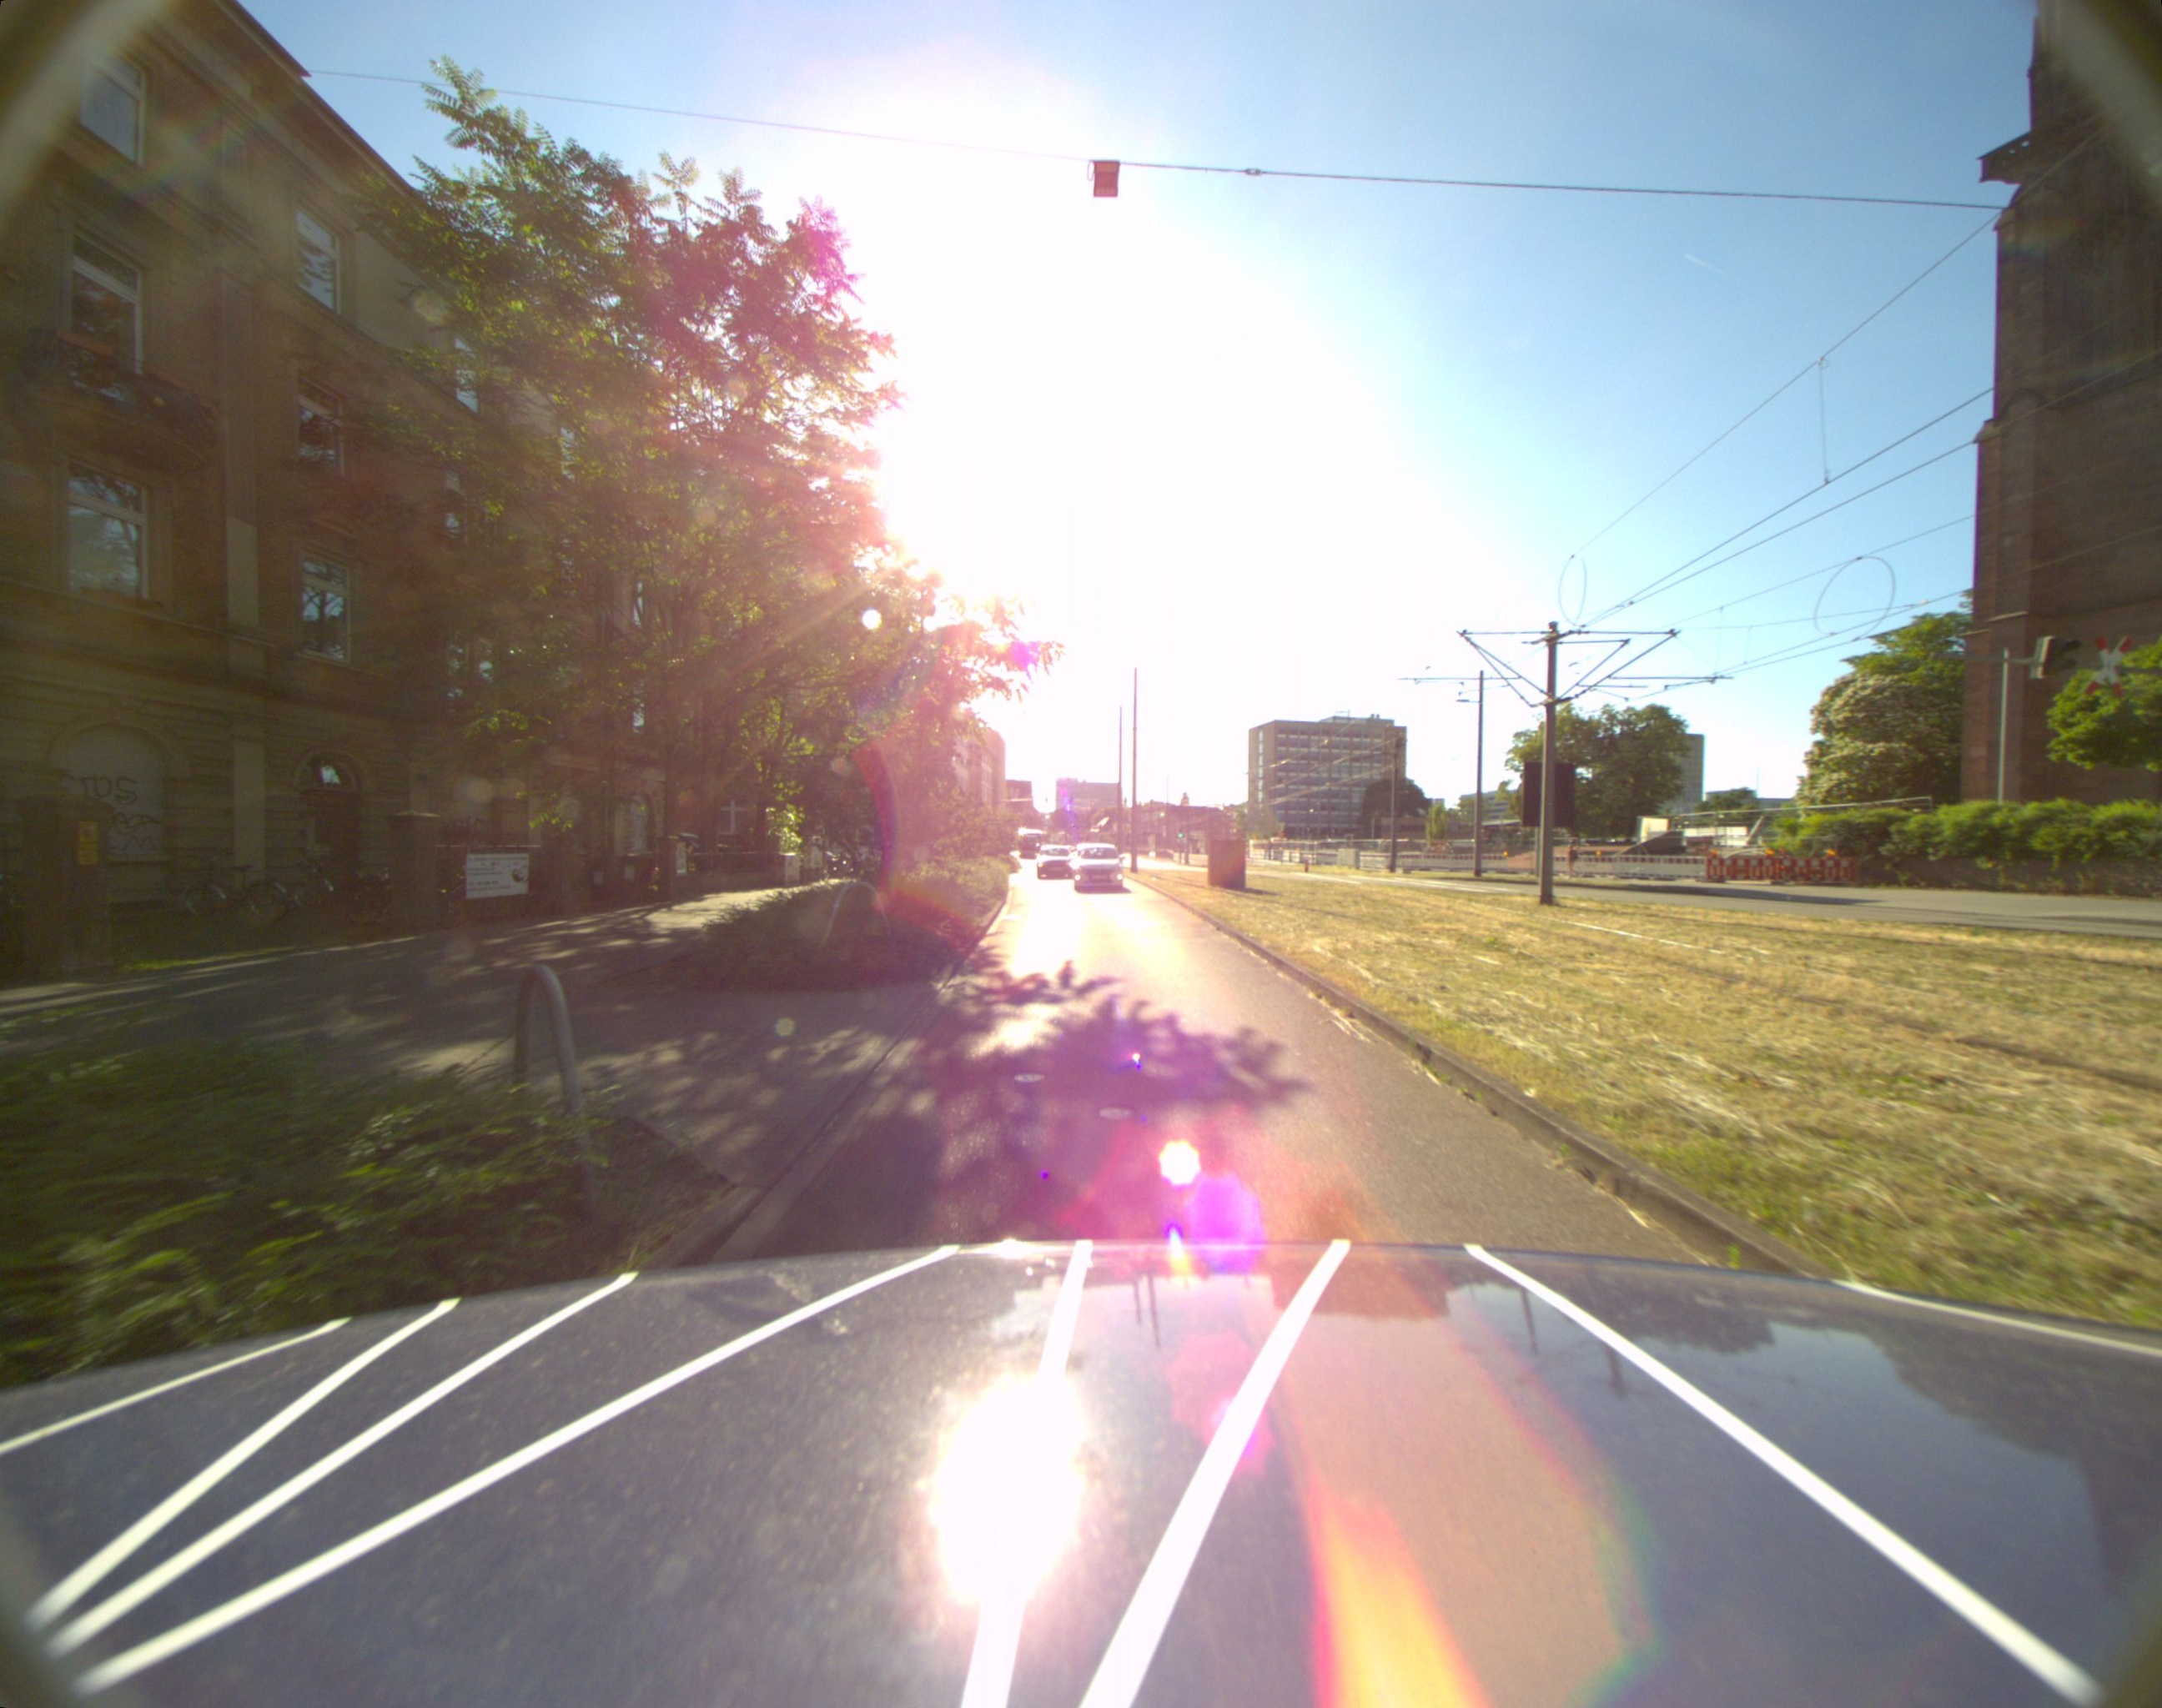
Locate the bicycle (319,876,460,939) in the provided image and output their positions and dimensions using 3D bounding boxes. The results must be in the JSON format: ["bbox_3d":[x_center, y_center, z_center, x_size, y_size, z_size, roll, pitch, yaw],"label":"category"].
[{"bbox_3d":[-10.593,0.806,11.668,1.656,0.919,0.539,1,-1,1],"label":"bicycle"}]

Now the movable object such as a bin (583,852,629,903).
[{"bbox_3d":[-10.827,0.529,17.335,0.598,1.054,0.651,4,4,0],"label":"movable object such as a bin"}]

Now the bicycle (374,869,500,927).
[{"bbox_3d":[-10.824,0.729,12.796,1.656,0.919,0.539,1,-1,1],"label":"bicycle"}]

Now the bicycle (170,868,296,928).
[{"bbox_3d":[-13.683,0.698,12.270,1.599,0.919,0.443,1,-1,4],"label":"bicycle"}]

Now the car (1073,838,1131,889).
[{"bbox_3d":[0.724,0.254,25.896,1.720,1.484,3.870,-4,1,2],"label":"car"}]

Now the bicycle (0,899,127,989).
[{"bbox_3d":[-10.140,0.889,7.555,0.770,0.849,0.375,1,-1,-3],"label":"bicycle"}]

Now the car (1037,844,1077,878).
[{"bbox_3d":[-1.046,0.294,34.673,1.694,1.380,3.830,0,2,0],"label":"car"}]

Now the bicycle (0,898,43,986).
[{"bbox_3d":[-10.944,0.862,7.519,0.770,0.849,0.375,1,-1,-3],"label":"bicycle"}]

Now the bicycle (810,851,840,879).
[{"bbox_3d":[-9.291,0.409,27.589,0.527,0.982,1.722,1,-1,-1],"label":"bicycle"}]

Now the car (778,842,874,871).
[{"bbox_3d":[-12.949,0.150,38.704,4.261,1.407,1.813,1,-1,0],"label":"car"}]

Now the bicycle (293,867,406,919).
[{"bbox_3d":[-13.623,0.720,14.163,1.734,0.919,0.443,1,-1,4],"label":"bicycle"}]

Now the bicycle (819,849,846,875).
[{"bbox_3d":[-10.375,0.366,31.822,0.519,1.041,1.821,1,-1,0],"label":"bicycle"}]

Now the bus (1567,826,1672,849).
[{"bbox_3d":[81.291,-2.422,114.989,12.624,3.174,3.259,0,-2,44],"label":"bus"}]

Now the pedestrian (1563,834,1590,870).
[{"bbox_3d":[24.432,-0.089,37.488,0.730,1.763,0.863,1,-1,-3],"label":"pedestrian"}]

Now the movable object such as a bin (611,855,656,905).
[{"bbox_3d":[-10.204,0.577,17.343,0.598,1.054,0.651,4,4,0],"label":"movable object such as a bin"}]

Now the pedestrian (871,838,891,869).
[{"bbox_3d":[-10.098,-0.030,38.363,0.700,1.526,0.663,2,2,41],"label":"pedestrian"}]

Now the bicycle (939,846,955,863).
[{"bbox_3d":[-9.051,0.032,51.270,0.643,1.042,2.359,1,2,0],"label":"bicycle"}]

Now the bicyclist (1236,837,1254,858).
[{"bbox_3d":[14.481,-0.579,67.172,1.319,1.798,0.965,0,-1,-9],"label":"bicyclist"}]

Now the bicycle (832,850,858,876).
[{"bbox_3d":[-9.862,0.375,31.822,0.519,1.041,1.821,1,-1,0],"label":"bicycle"}]

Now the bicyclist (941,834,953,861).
[{"bbox_3d":[-9.037,-0.436,51.268,0.643,1.805,1.052,1,3,0],"label":"bicyclist"}]

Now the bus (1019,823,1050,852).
[{"bbox_3d":[-5.411,-1.943,90.329,2.722,3.163,12.538,1,1,0],"label":"bus"}]

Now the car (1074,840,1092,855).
[{"bbox_3d":[0.197,-0.831,89.227,1.999,1.666,4.281,-1,1,-2],"label":"car"}]

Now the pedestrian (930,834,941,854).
[{"bbox_3d":[-13.639,-0.956,71.224,0.824,1.919,1.136,0,2,0],"label":"pedestrian"}]

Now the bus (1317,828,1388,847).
[{"bbox_3d":[51.134,-3.100,143.552,12.624,3.174,2.848,0,-2,44],"label":"bus"}]

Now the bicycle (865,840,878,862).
[{"bbox_3d":[-12.430,-0.185,45.139,0.490,1.232,1.887,1,3,-9],"label":"bicycle"}]

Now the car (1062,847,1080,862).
[{"bbox_3d":[-1.067,0.058,82.625,1.783,1.456,3.914,0,2,2],"label":"car"}]

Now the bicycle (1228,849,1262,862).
[{"bbox_3d":[14.492,0.164,67.137,2.824,1.090,0.965,0,-1,-9],"label":"bicycle"}]

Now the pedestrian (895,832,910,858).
[{"bbox_3d":[-13.344,-0.709,56.891,0.824,1.919,1.136,0,2,0],"label":"pedestrian"}]

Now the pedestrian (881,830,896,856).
[{"bbox_3d":[-14.396,-0.817,56.913,0.824,1.919,1.136,0,2,0],"label":"pedestrian"}]

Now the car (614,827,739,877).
[{"bbox_3d":[-17.810,-0.067,33.609,4.589,2.111,1.775,0,-1,-1],"label":"car"}]
